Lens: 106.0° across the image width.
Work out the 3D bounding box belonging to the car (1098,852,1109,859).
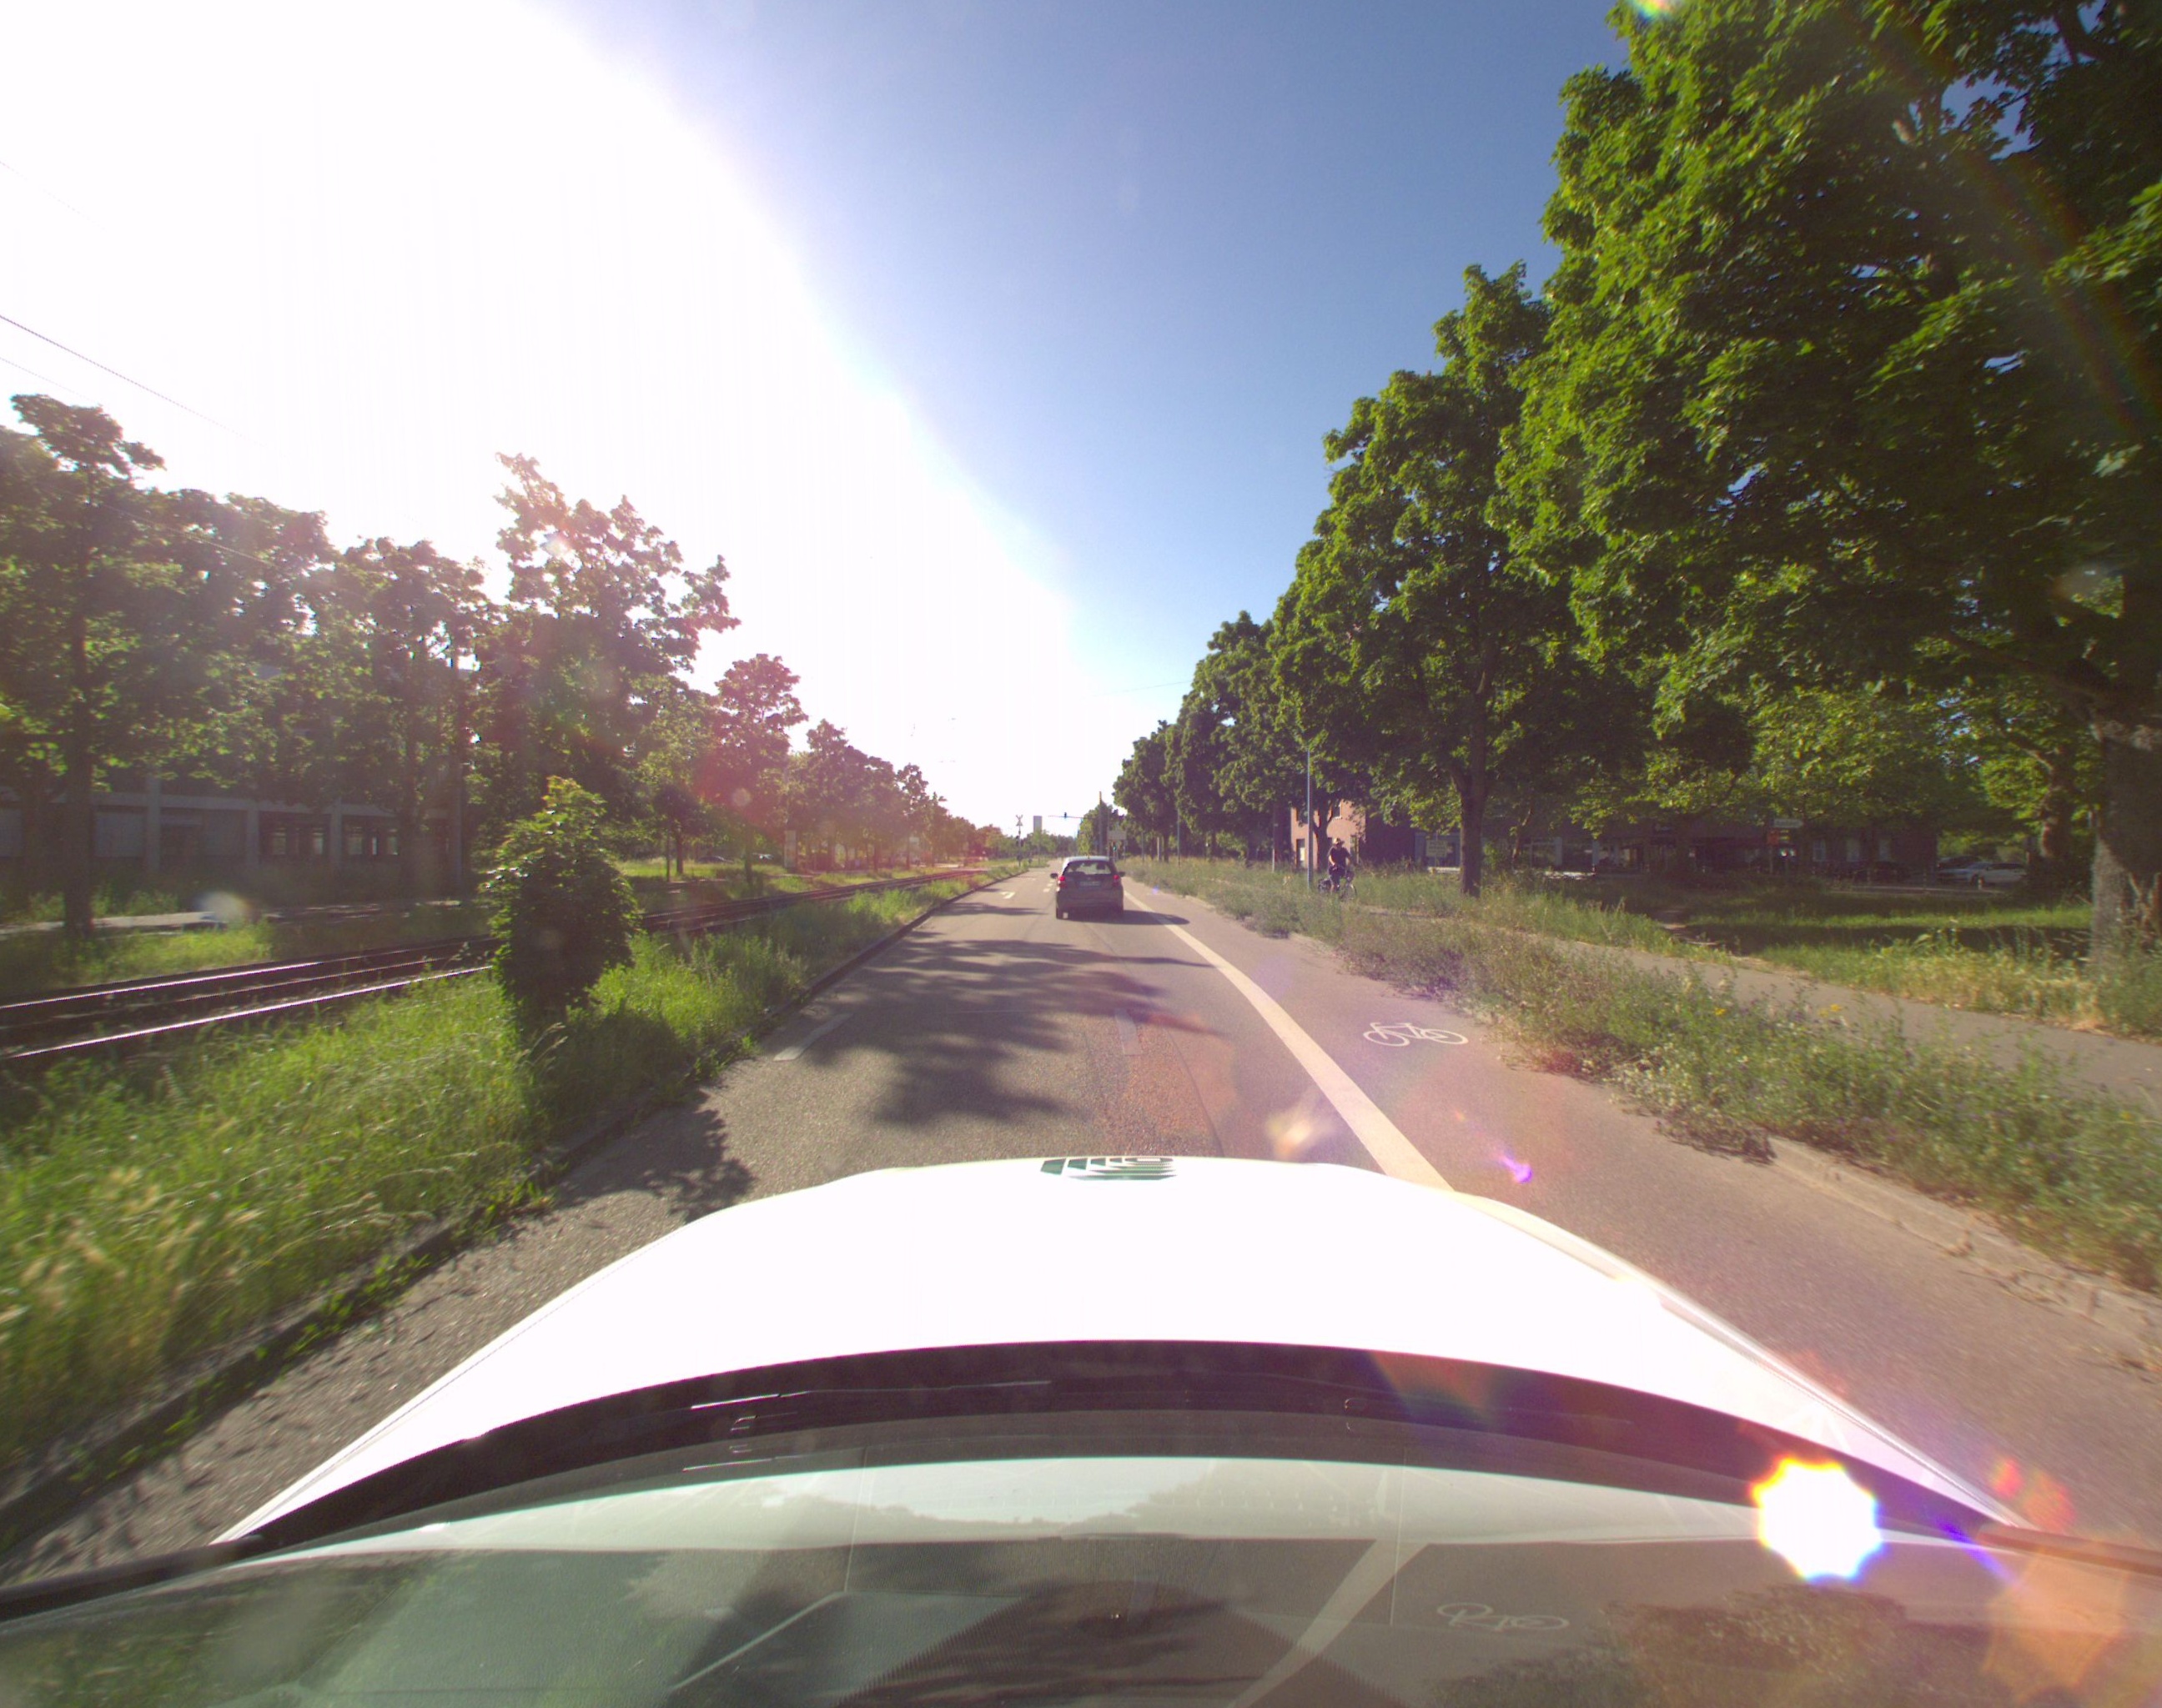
[{"bbox_3d":[4.527,0.349,164.836,1.771,1.386,3.863,-1,0,-5],"label":"car"}]

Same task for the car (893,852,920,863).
[{"bbox_3d":[-32.907,0.688,153.782,1.837,1.974,4.817,0,0,38],"label":"car"}]

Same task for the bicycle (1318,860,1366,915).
[{"bbox_3d":[6.059,0.775,18.981,0.481,1.204,2.144,0,-2,2],"label":"bicycle"}]

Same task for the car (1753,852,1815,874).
[{"bbox_3d":[60.099,0.756,69.645,3.984,1.828,1.868,0,0,-8],"label":"car"}]

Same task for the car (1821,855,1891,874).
[{"bbox_3d":[61.519,0.839,64.712,3.979,1.491,1.870,0,0,-4],"label":"car"}]

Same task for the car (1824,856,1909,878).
[{"bbox_3d":[54.407,0.898,56.456,3.966,1.491,1.876,0,0,6],"label":"car"}]

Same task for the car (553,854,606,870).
[{"bbox_3d":[-50.973,0.812,82.899,4.440,1.640,1.973,0,0,-27],"label":"car"}]

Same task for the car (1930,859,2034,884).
[{"bbox_3d":[54.619,1.054,49.429,4.499,1.399,1.830,1,0,-3],"label":"car"}]

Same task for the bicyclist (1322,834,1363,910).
[{"bbox_3d":[6.066,0.423,18.913,0.680,1.720,0.903,0,-1,1],"label":"bicyclist"}]

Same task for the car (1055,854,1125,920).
[{"bbox_3d":[0.198,0.781,20.976,1.619,1.499,3.455,-1,0,0],"label":"car"}]
